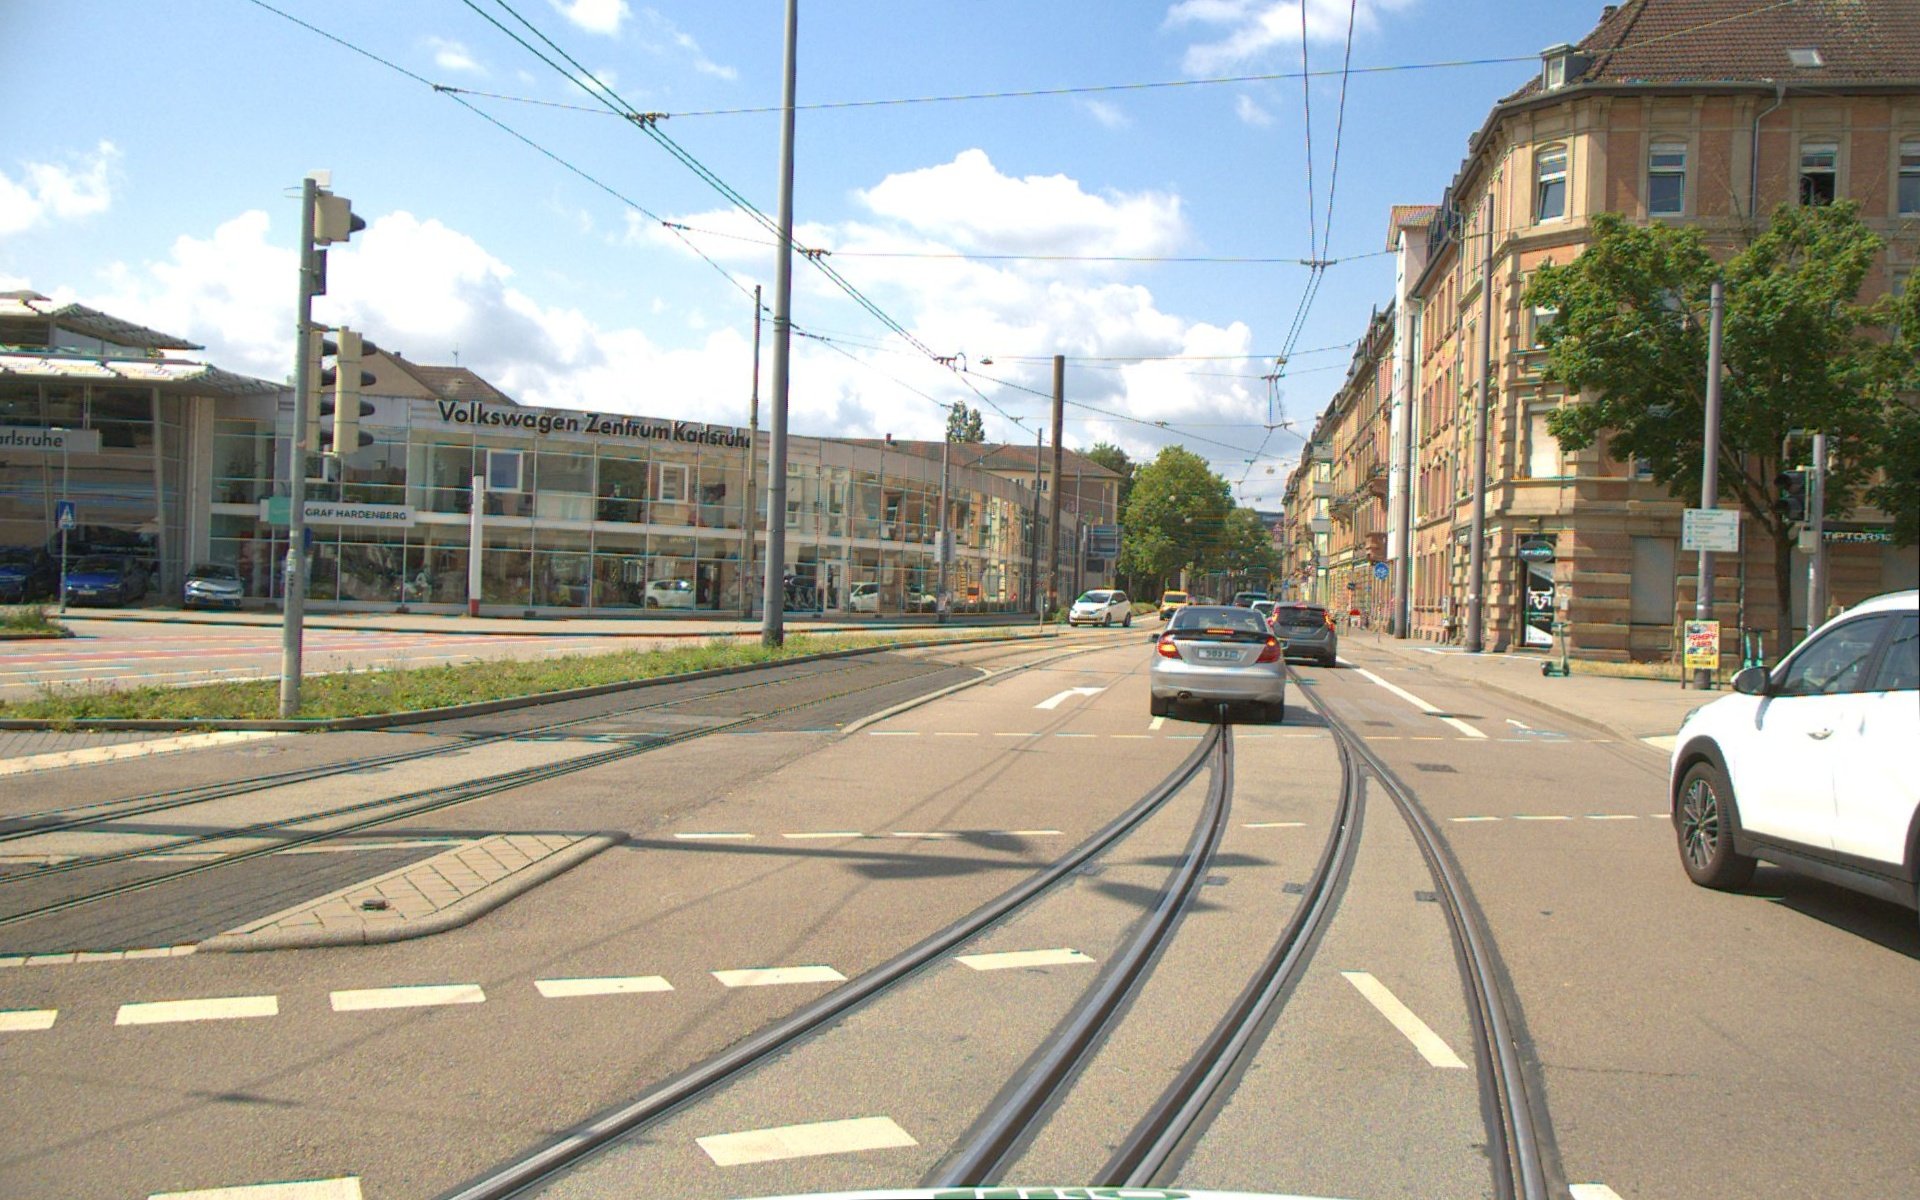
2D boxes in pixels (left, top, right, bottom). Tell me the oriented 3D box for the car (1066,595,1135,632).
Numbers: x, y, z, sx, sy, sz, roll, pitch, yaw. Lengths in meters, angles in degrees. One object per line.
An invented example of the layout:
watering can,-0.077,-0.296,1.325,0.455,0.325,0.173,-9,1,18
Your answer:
car,6.384,0.604,74.917,1.731,1.632,4.490,0,0,24

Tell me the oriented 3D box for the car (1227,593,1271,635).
car,12.407,0.594,71.151,1.776,1.691,4.088,2,0,9

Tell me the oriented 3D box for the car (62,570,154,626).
car,-26.326,-0.097,51.224,1.627,1.499,3.775,2,2,-14

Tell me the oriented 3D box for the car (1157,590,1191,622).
car,13.030,0.380,100.522,1.870,1.898,4.371,0,0,9

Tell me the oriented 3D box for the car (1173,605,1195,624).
car,18.370,1.173,135.446,1.665,1.453,3.905,2,-1,9

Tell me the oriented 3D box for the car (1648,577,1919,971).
car,5.008,0.759,7.864,1.814,1.662,4.182,2,0,2

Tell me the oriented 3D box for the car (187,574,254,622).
car,-24.007,-0.074,53.640,1.807,1.472,3.913,2,0,-26

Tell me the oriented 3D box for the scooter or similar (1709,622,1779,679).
scooter or similar,17.317,1.102,36.546,0.928,1.224,1.390,1,-1,3

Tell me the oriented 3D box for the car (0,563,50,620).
car,-29.506,-0.280,51.399,1.755,1.702,3.596,2,0,-34

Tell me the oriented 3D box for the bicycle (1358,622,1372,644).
bicycle,22.106,1.799,90.267,0.574,1.199,2.206,1,0,10

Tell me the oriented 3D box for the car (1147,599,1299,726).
car,3.422,0.747,21.991,1.776,1.445,4.191,2,0,7

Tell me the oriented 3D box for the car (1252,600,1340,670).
car,8.135,0.814,40.337,1.776,1.550,4.088,2,0,7

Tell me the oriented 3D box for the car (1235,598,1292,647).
car,10.291,0.740,56.264,1.776,1.550,3.959,2,0,9
